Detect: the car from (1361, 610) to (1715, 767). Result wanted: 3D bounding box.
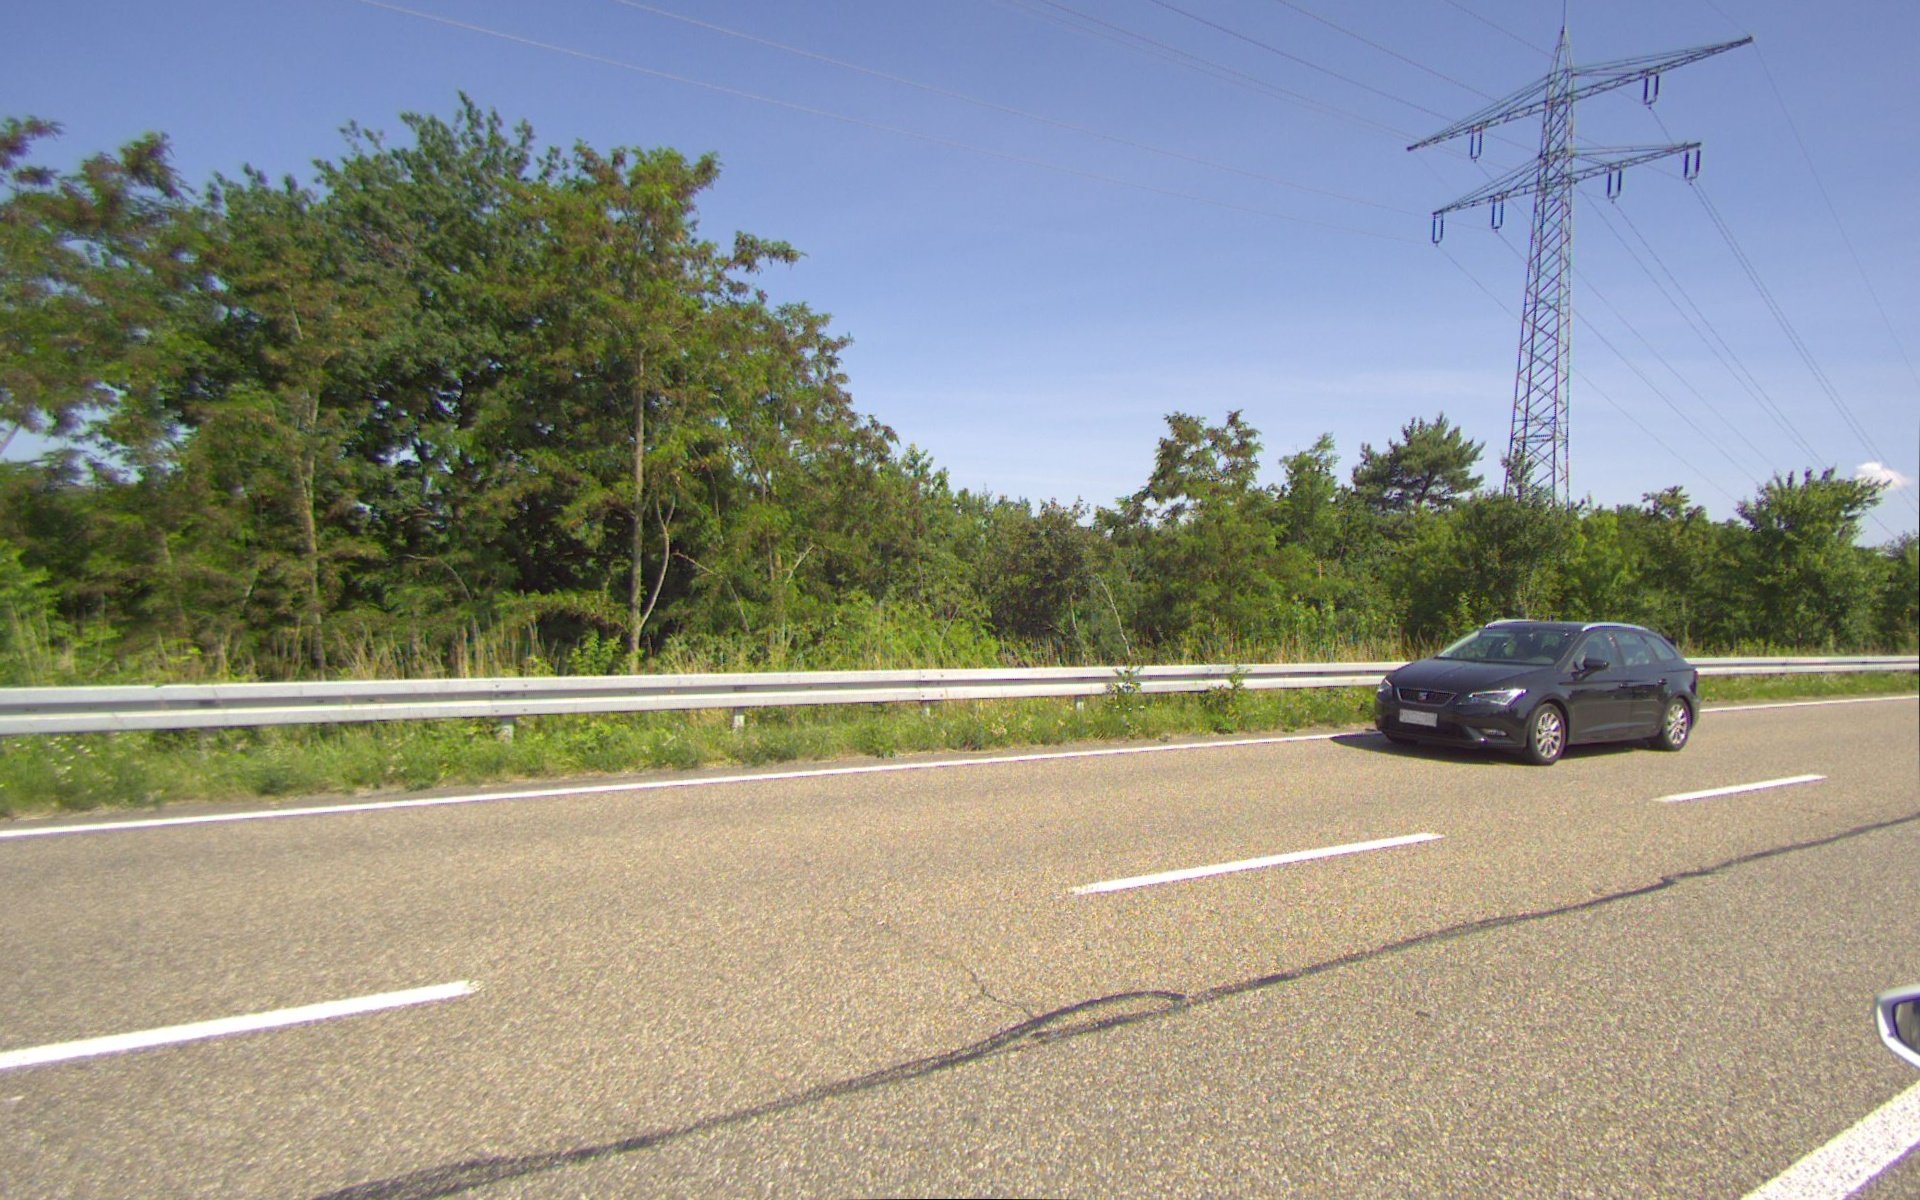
[{"bbox_3d":[6.585,0.885,11.328,4.166,1.461,1.651,1,0,-31],"label":"car"}]
